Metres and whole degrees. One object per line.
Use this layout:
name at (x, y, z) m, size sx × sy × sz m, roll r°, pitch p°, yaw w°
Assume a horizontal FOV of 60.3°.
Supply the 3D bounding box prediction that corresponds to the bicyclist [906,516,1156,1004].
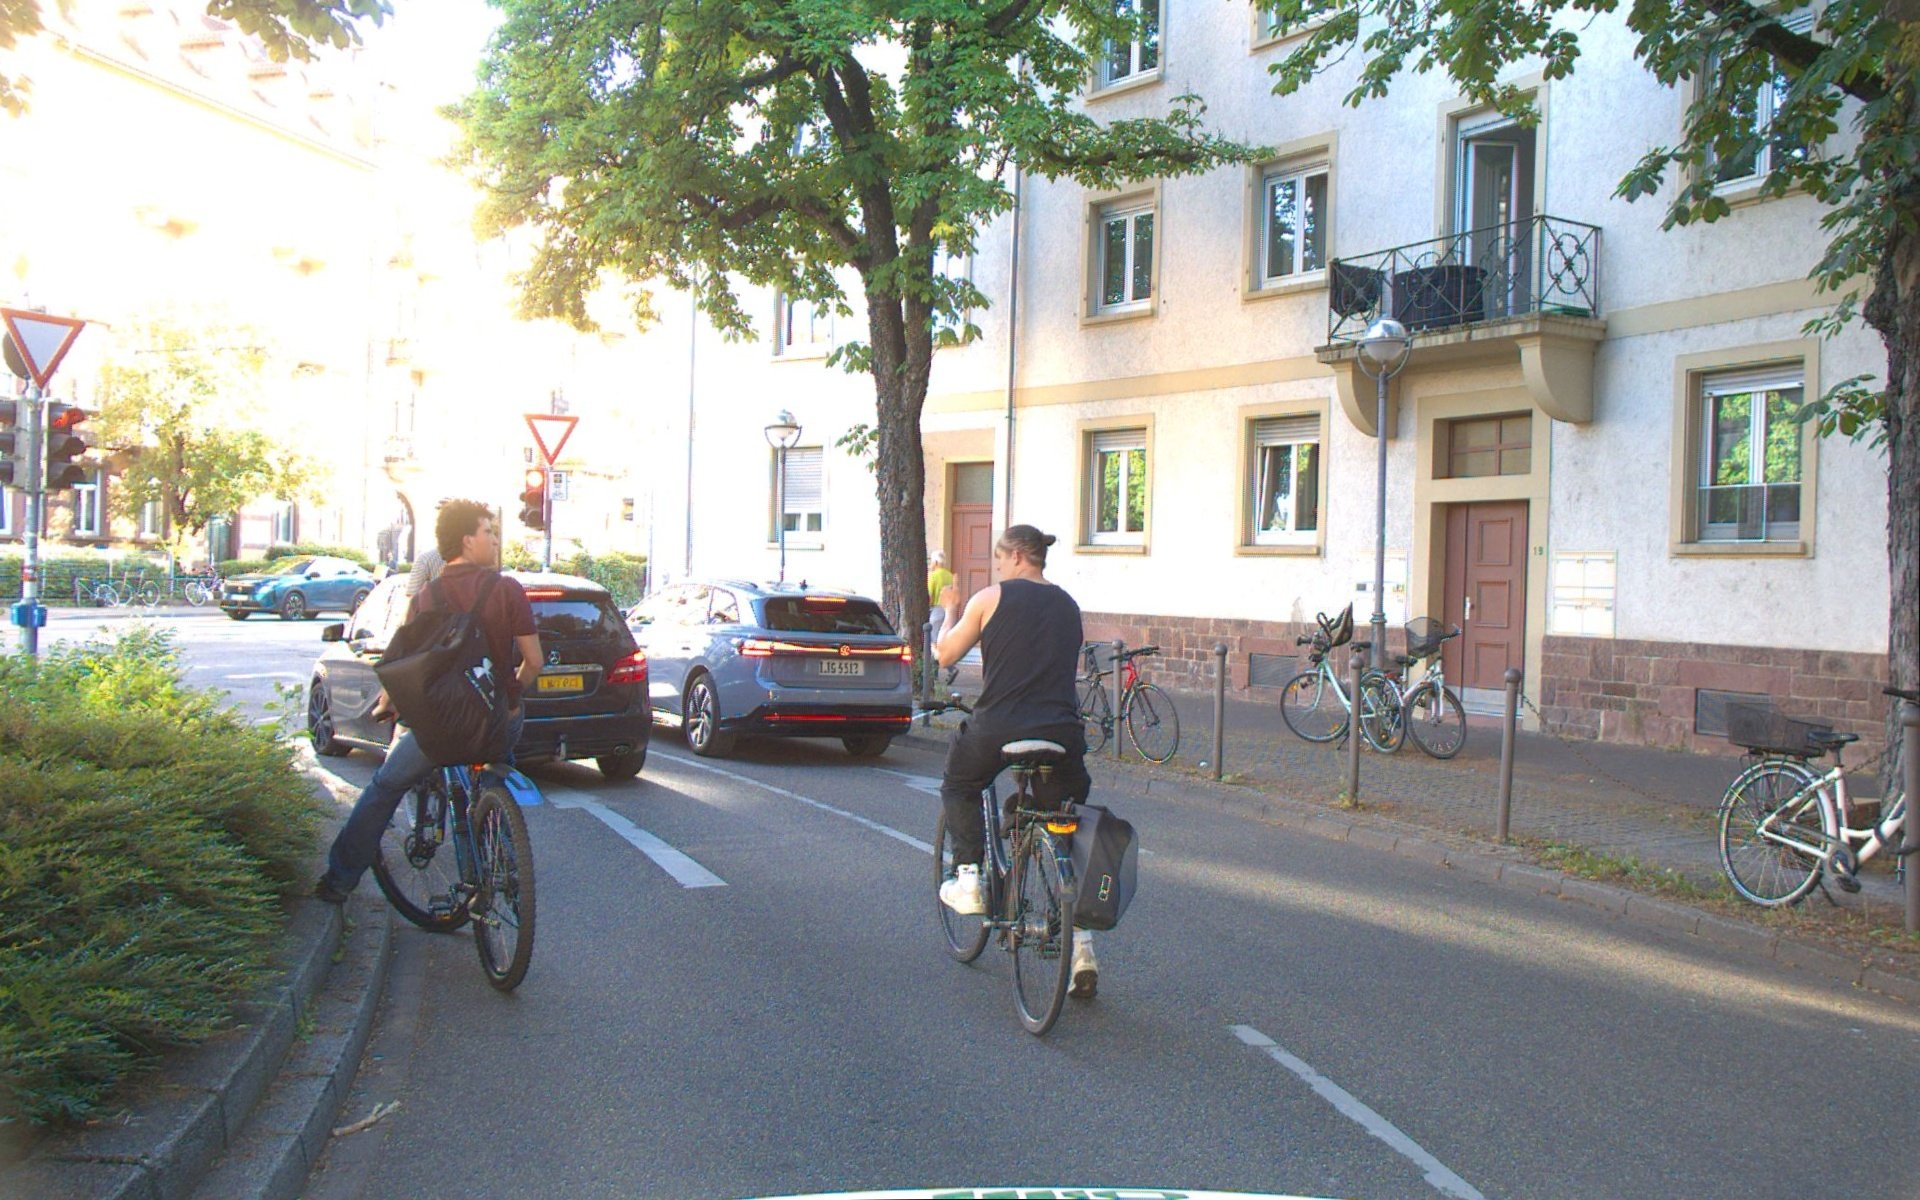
bicyclist at (0.240, 0.546, 6.273) m, size 0.675 × 1.685 × 0.985 m, roll 0°, pitch 1°, yaw -15°

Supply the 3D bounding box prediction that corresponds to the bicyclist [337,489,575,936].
bicyclist at (-2.000, 0.401, 6.501) m, size 0.698 × 1.601 × 0.948 m, roll 2°, pitch 0°, yaw -27°

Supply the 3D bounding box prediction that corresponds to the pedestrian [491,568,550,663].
pedestrian at (-8.090, 0.279, 30.400) m, size 0.889 × 1.663 × 0.721 m, roll 3°, pitch 1°, yaw -21°

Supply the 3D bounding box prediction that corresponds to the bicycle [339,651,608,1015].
bicycle at (-2.004, 0.823, 6.609) m, size 0.708 × 1.126 × 1.951 m, roll 2°, pitch 0°, yaw -25°

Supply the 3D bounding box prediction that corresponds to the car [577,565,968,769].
car at (-1.947, 0.552, 15.740) m, size 1.951 × 1.613 × 4.427 m, roll 4°, pitch -1°, yaw -32°

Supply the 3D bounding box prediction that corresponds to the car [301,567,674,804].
car at (-3.863, 0.531, 13.111) m, size 1.774 × 1.569 × 3.814 m, roll -1°, pitch 1°, yaw -34°

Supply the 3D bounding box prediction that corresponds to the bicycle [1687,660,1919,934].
bicycle at (4.295, 0.890, 7.634) m, size 0.505 × 1.114 × 1.962 m, roll 0°, pitch 1°, yaw -20°

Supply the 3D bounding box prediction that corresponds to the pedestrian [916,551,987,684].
pedestrian at (-0.119, 0.214, 22.446) m, size 0.635 × 1.757 × 0.880 m, roll -1°, pitch 2°, yaw -27°

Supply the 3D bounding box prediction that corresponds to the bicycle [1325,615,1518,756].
bicycle at (4.122, 0.739, 14.942) m, size 0.657 × 1.126 × 1.956 m, roll 2°, pitch 0°, yaw -19°

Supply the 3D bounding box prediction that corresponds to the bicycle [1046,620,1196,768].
bicycle at (1.373, 0.783, 14.424) m, size 0.519 × 1.126 × 1.728 m, roll -1°, pitch 2°, yaw -24°

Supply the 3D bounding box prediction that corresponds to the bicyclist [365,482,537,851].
bicyclist at (-2.877, 0.352, 9.294) m, size 0.783 × 1.946 × 0.938 m, roll 2°, pitch 0°, yaw -23°

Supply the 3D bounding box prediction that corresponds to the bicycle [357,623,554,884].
bicycle at (-2.876, 0.774, 9.263) m, size 0.799 × 1.205 × 2.211 m, roll 2°, pitch 1°, yaw -23°

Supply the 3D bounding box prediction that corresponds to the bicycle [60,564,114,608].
bicycle at (-22.911, -0.361, 43.411) m, size 0.433 × 1.126 × 1.233 m, roll 3°, pitch 1°, yaw 22°

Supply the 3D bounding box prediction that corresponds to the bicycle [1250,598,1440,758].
bicycle at (3.425, 0.654, 14.915) m, size 0.707 × 1.299 × 1.955 m, roll 0°, pitch 1°, yaw -21°

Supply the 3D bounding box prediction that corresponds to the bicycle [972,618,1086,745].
bicycle at (0.643, 0.759, 15.988) m, size 0.474 × 1.082 × 1.625 m, roll -1°, pitch 2°, yaw -22°

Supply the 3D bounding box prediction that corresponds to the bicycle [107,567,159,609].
bicycle at (-22.355, -0.320, 44.723) m, size 0.433 × 1.126 × 1.233 m, roll 3°, pitch 1°, yaw 22°

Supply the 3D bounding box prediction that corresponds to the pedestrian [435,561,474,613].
pedestrian at (-16.843, -0.432, 55.112) m, size 0.698 × 1.693 × 0.895 m, roll 5°, pitch 2°, yaw 33°

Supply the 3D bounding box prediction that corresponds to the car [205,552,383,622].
car at (-17.196, -0.337, 42.937) m, size 1.901 × 1.678 × 4.413 m, roll 2°, pitch 0°, yaw 17°

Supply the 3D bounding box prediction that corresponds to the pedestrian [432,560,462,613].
pedestrian at (-17.331, -0.456, 55.888) m, size 0.649 × 1.745 × 0.635 m, roll 2°, pitch 0°, yaw 29°

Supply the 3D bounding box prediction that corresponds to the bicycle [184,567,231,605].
bicycle at (-21.451, -0.387, 47.169) m, size 0.433 × 1.056 × 1.233 m, roll 3°, pitch 1°, yaw 21°
